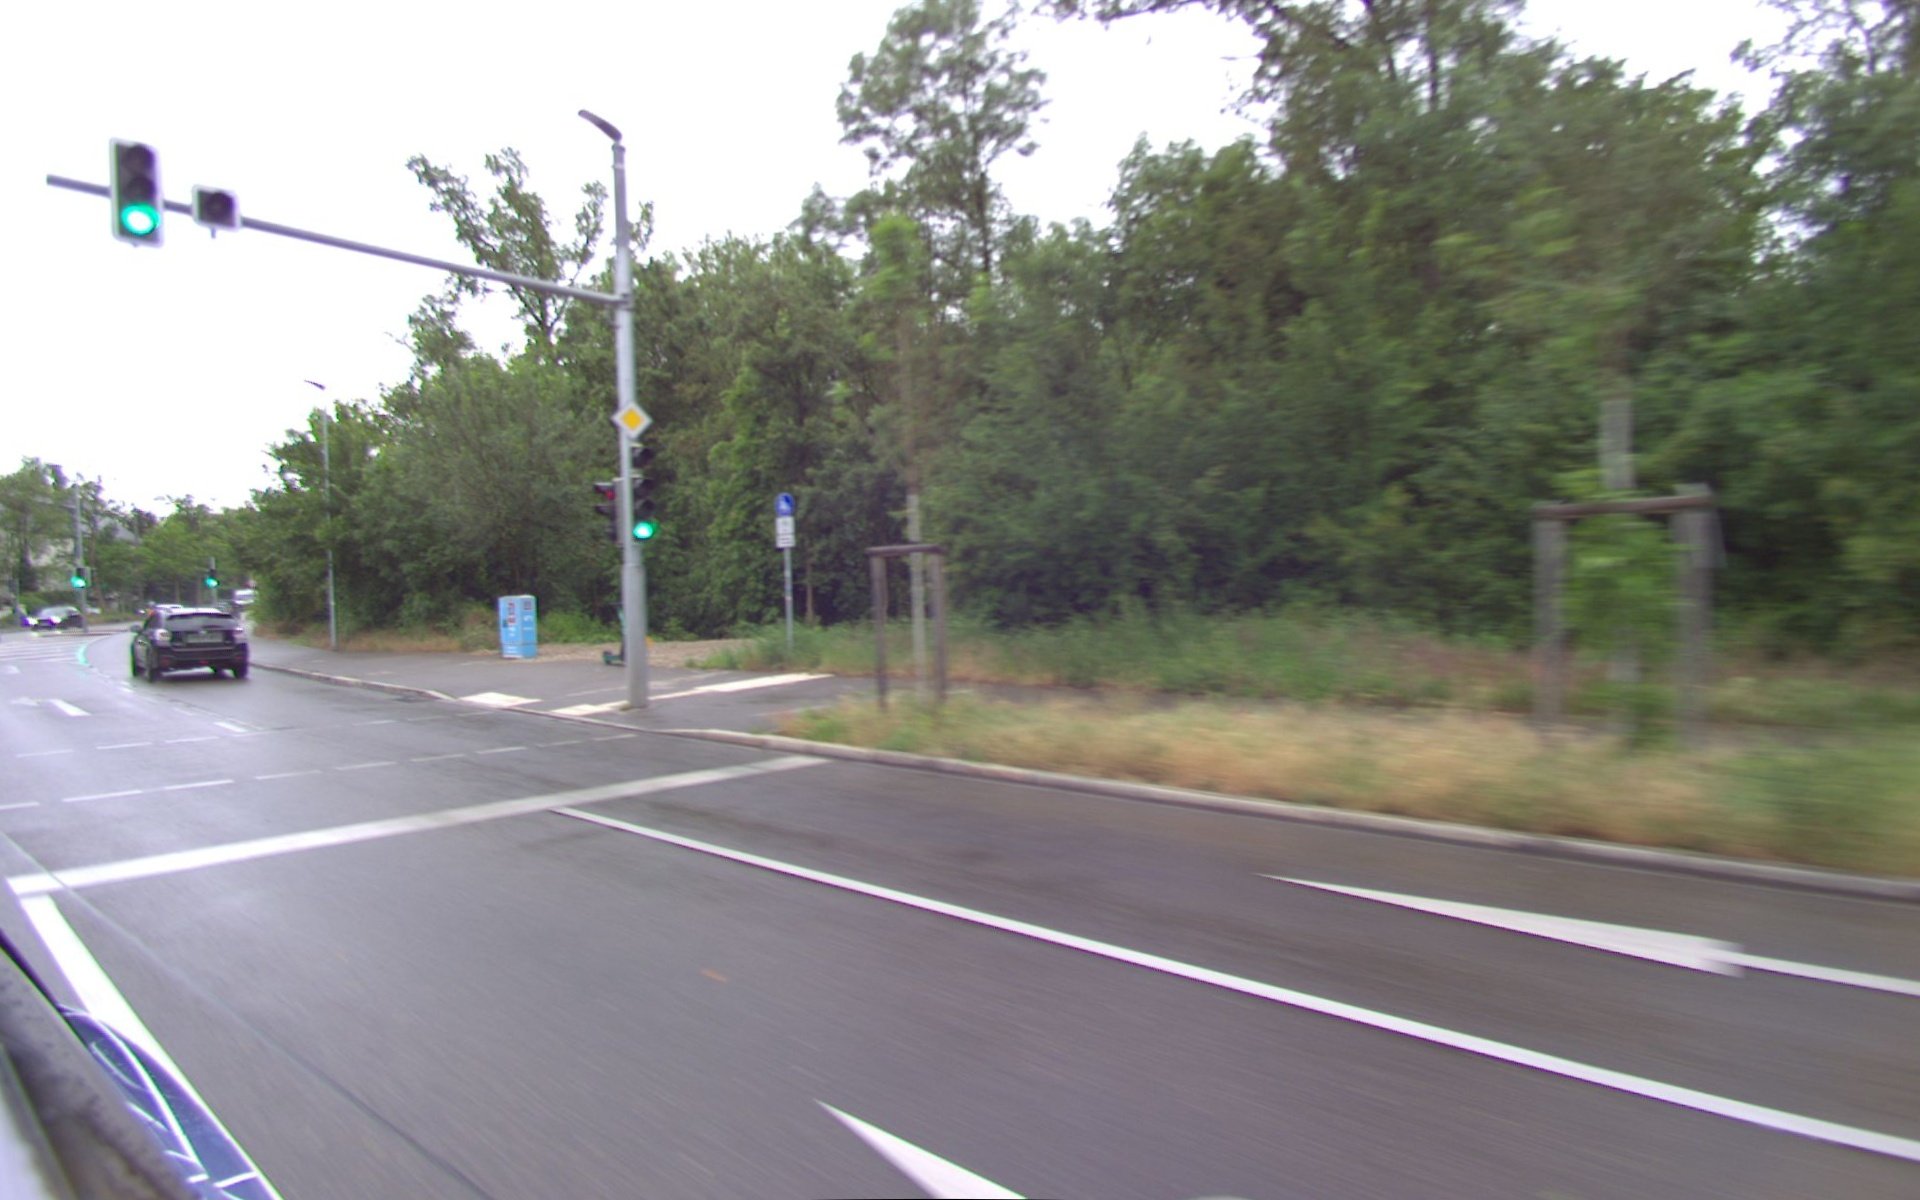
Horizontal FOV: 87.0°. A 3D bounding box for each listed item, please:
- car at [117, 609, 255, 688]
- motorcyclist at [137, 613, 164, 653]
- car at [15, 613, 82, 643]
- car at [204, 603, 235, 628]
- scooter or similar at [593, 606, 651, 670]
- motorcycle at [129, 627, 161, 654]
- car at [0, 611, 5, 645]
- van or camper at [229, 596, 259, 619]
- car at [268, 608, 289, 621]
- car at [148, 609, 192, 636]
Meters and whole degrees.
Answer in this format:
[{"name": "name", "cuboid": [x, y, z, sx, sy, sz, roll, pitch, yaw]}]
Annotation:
[{"name": "car", "cuboid": [-17.707, 1.040, 23.065, 4.562, 1.593, 1.769, -1, 0, 43]}, {"name": "motorcyclist", "cuboid": [-33.898, 1.375, 42.383, 0.927, 1.644, 0.737, -1, 0, 44]}, {"name": "car", "cuboid": [-55.318, 1.657, 61.524, 1.913, 1.615, 4.619, -1, 1, -28]}, {"name": "car", "cuboid": [-53.815, 1.105, 73.578, 1.554, 1.744, 3.785, -1, 0, -33]}, {"name": "scooter or similar", "cuboid": [-6.800, 0.738, 20.331, 0.511, 1.221, 1.471, -3, 1, -42]}, {"name": "motorcycle", "cuboid": [-33.870, 1.670, 42.095, 0.585, 1.058, 2.005, -1, 0, -26]}, {"name": "car", "cuboid": [-40.511, 1.200, 40.903, 1.913, 1.466, 4.617, -1, 1, -33]}, {"name": "van or camper", "cuboid": [-83.851, 0.832, 118.513, 1.965, 2.471, 4.737, -3, 1, -25]}, {"name": "car", "cuboid": [-92.024, 1.940, 136.714, 1.913, 1.615, 4.619, -1, 1, -28]}, {"name": "car", "cuboid": [-42.023, 1.174, 53.812, 1.719, 1.362, 4.217, -1, 0, -39]}]
